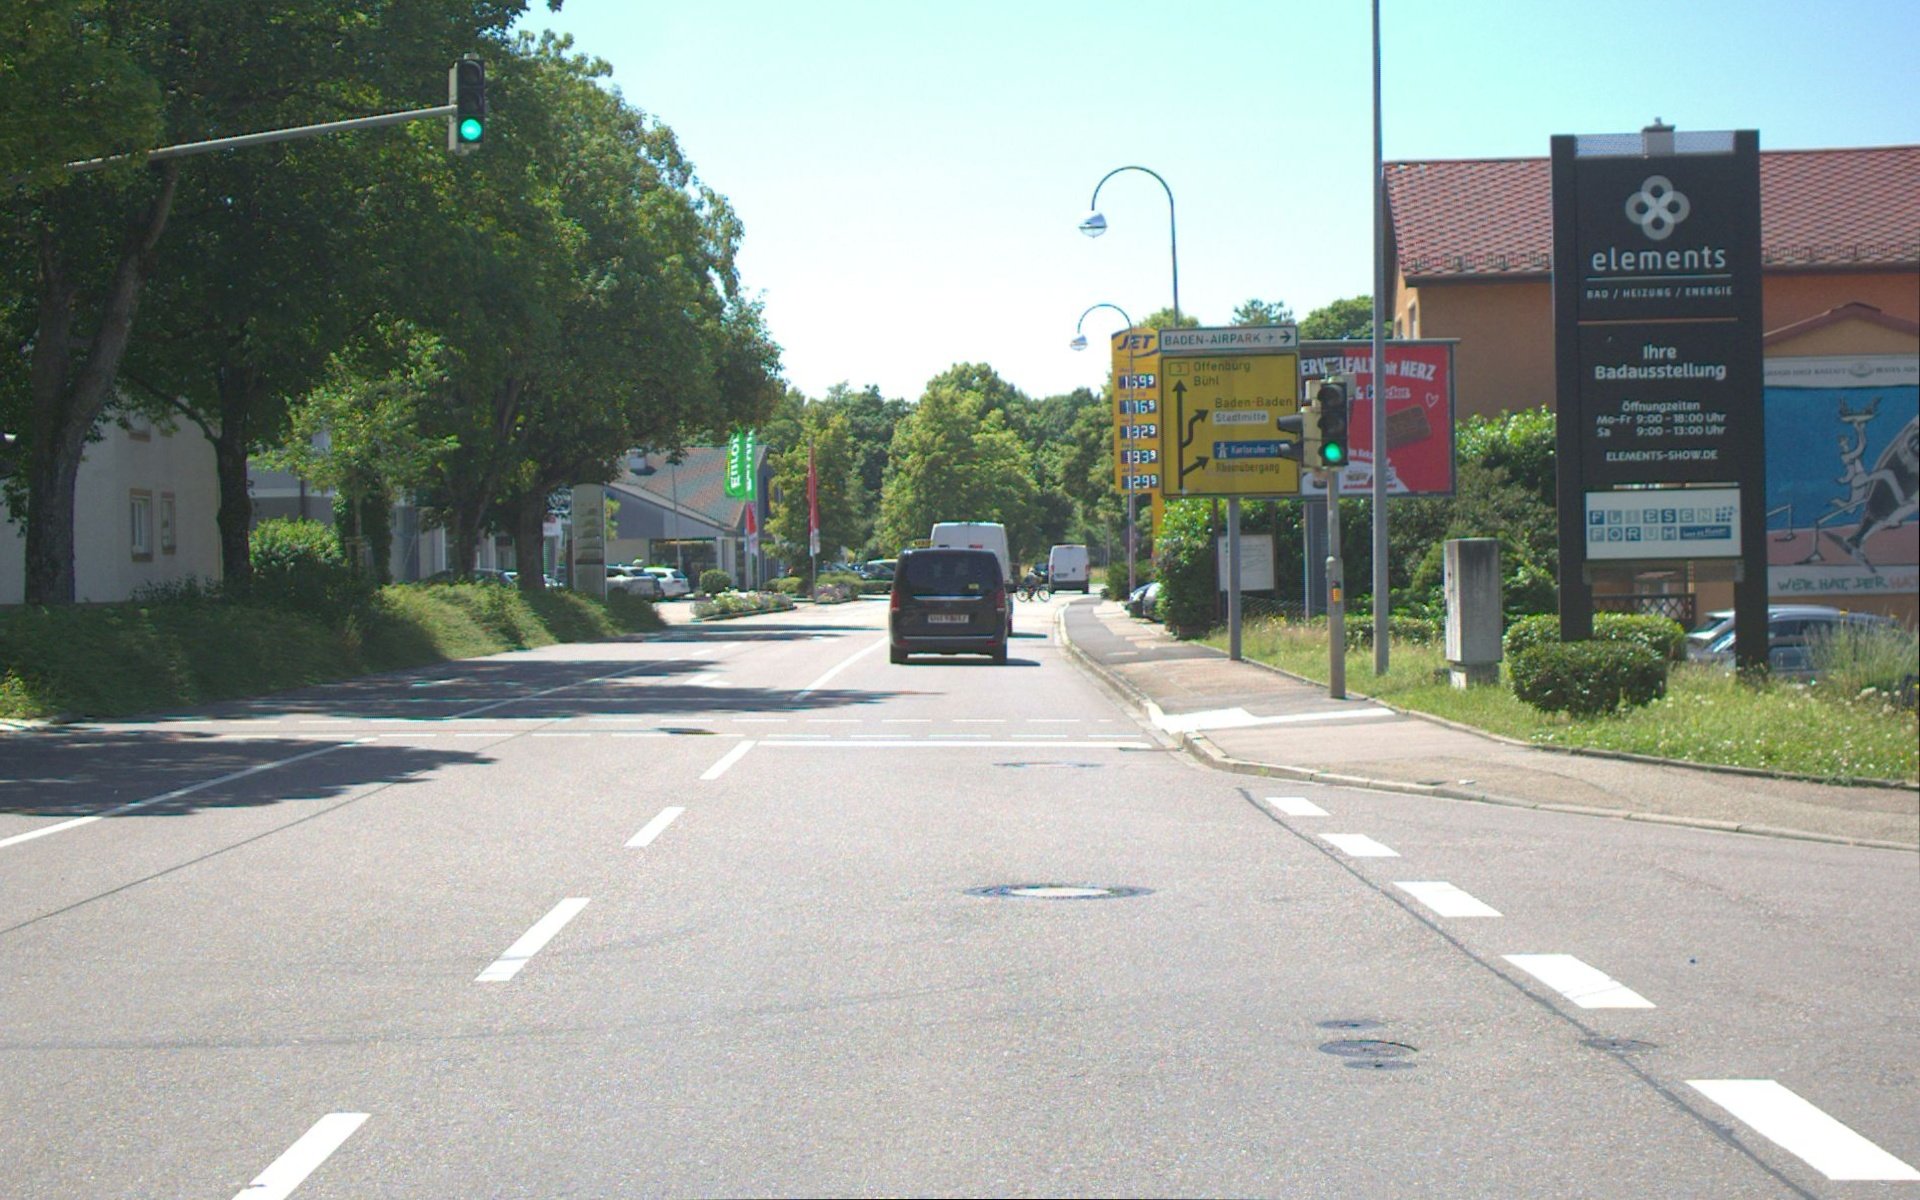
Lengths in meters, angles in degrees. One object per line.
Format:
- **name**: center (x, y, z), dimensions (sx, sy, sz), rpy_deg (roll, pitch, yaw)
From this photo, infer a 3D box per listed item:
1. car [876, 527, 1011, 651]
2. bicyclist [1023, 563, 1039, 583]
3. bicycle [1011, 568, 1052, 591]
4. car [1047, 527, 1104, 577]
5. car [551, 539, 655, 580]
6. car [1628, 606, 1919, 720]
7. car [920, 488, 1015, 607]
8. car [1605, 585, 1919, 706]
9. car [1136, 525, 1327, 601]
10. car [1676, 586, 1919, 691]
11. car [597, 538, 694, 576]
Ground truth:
- **car**: center (-0.305, -0.212, 55.501), dimensions (1.993, 1.886, 4.001), rpy_deg (0, 2, -3)
- **bicyclist**: center (3.107, -1.184, 150.077), dimensions (0.468, 0.850, 0.558), rpy_deg (-2, 4, -26)
- **bicycle**: center (3.127, -0.900, 150.099), dimensions (1.715, 0.884, 0.558), rpy_deg (-2, 4, -26)
- **car**: center (6.167, -2.580, 182.791), dimensions (2.353, 2.538, 4.954), rpy_deg (1, 2, 10)
- **car**: center (-15.352, -1.764, 147.835), dimensions (4.045, 1.700, 1.901), rpy_deg (1, 2, 18)
- **car**: center (10.862, 0.827, 46.027), dimensions (3.622, 1.412, 1.698), rpy_deg (1, 2, 6)
- **car**: center (0.189, -1.257, 80.067), dimensions (2.120, 2.668, 5.662), rpy_deg (0, 2, 1)
- **car**: center (11.584, 0.637, 49.503), dimensions (4.272, 1.641, 1.890), rpy_deg (0, 2, 2)
- **car**: center (6.869, -0.951, 87.348), dimensions (4.556, 1.711, 2.000), rpy_deg (-2, 2, -3)
- **car**: center (13.725, 0.606, 55.091), dimensions (4.260, 1.593, 1.889), rpy_deg (0, 1, 8)
- **car**: center (-14.210, -1.949, 155.523), dimensions (3.989, 1.656, 1.999), rpy_deg (1, 2, 11)
